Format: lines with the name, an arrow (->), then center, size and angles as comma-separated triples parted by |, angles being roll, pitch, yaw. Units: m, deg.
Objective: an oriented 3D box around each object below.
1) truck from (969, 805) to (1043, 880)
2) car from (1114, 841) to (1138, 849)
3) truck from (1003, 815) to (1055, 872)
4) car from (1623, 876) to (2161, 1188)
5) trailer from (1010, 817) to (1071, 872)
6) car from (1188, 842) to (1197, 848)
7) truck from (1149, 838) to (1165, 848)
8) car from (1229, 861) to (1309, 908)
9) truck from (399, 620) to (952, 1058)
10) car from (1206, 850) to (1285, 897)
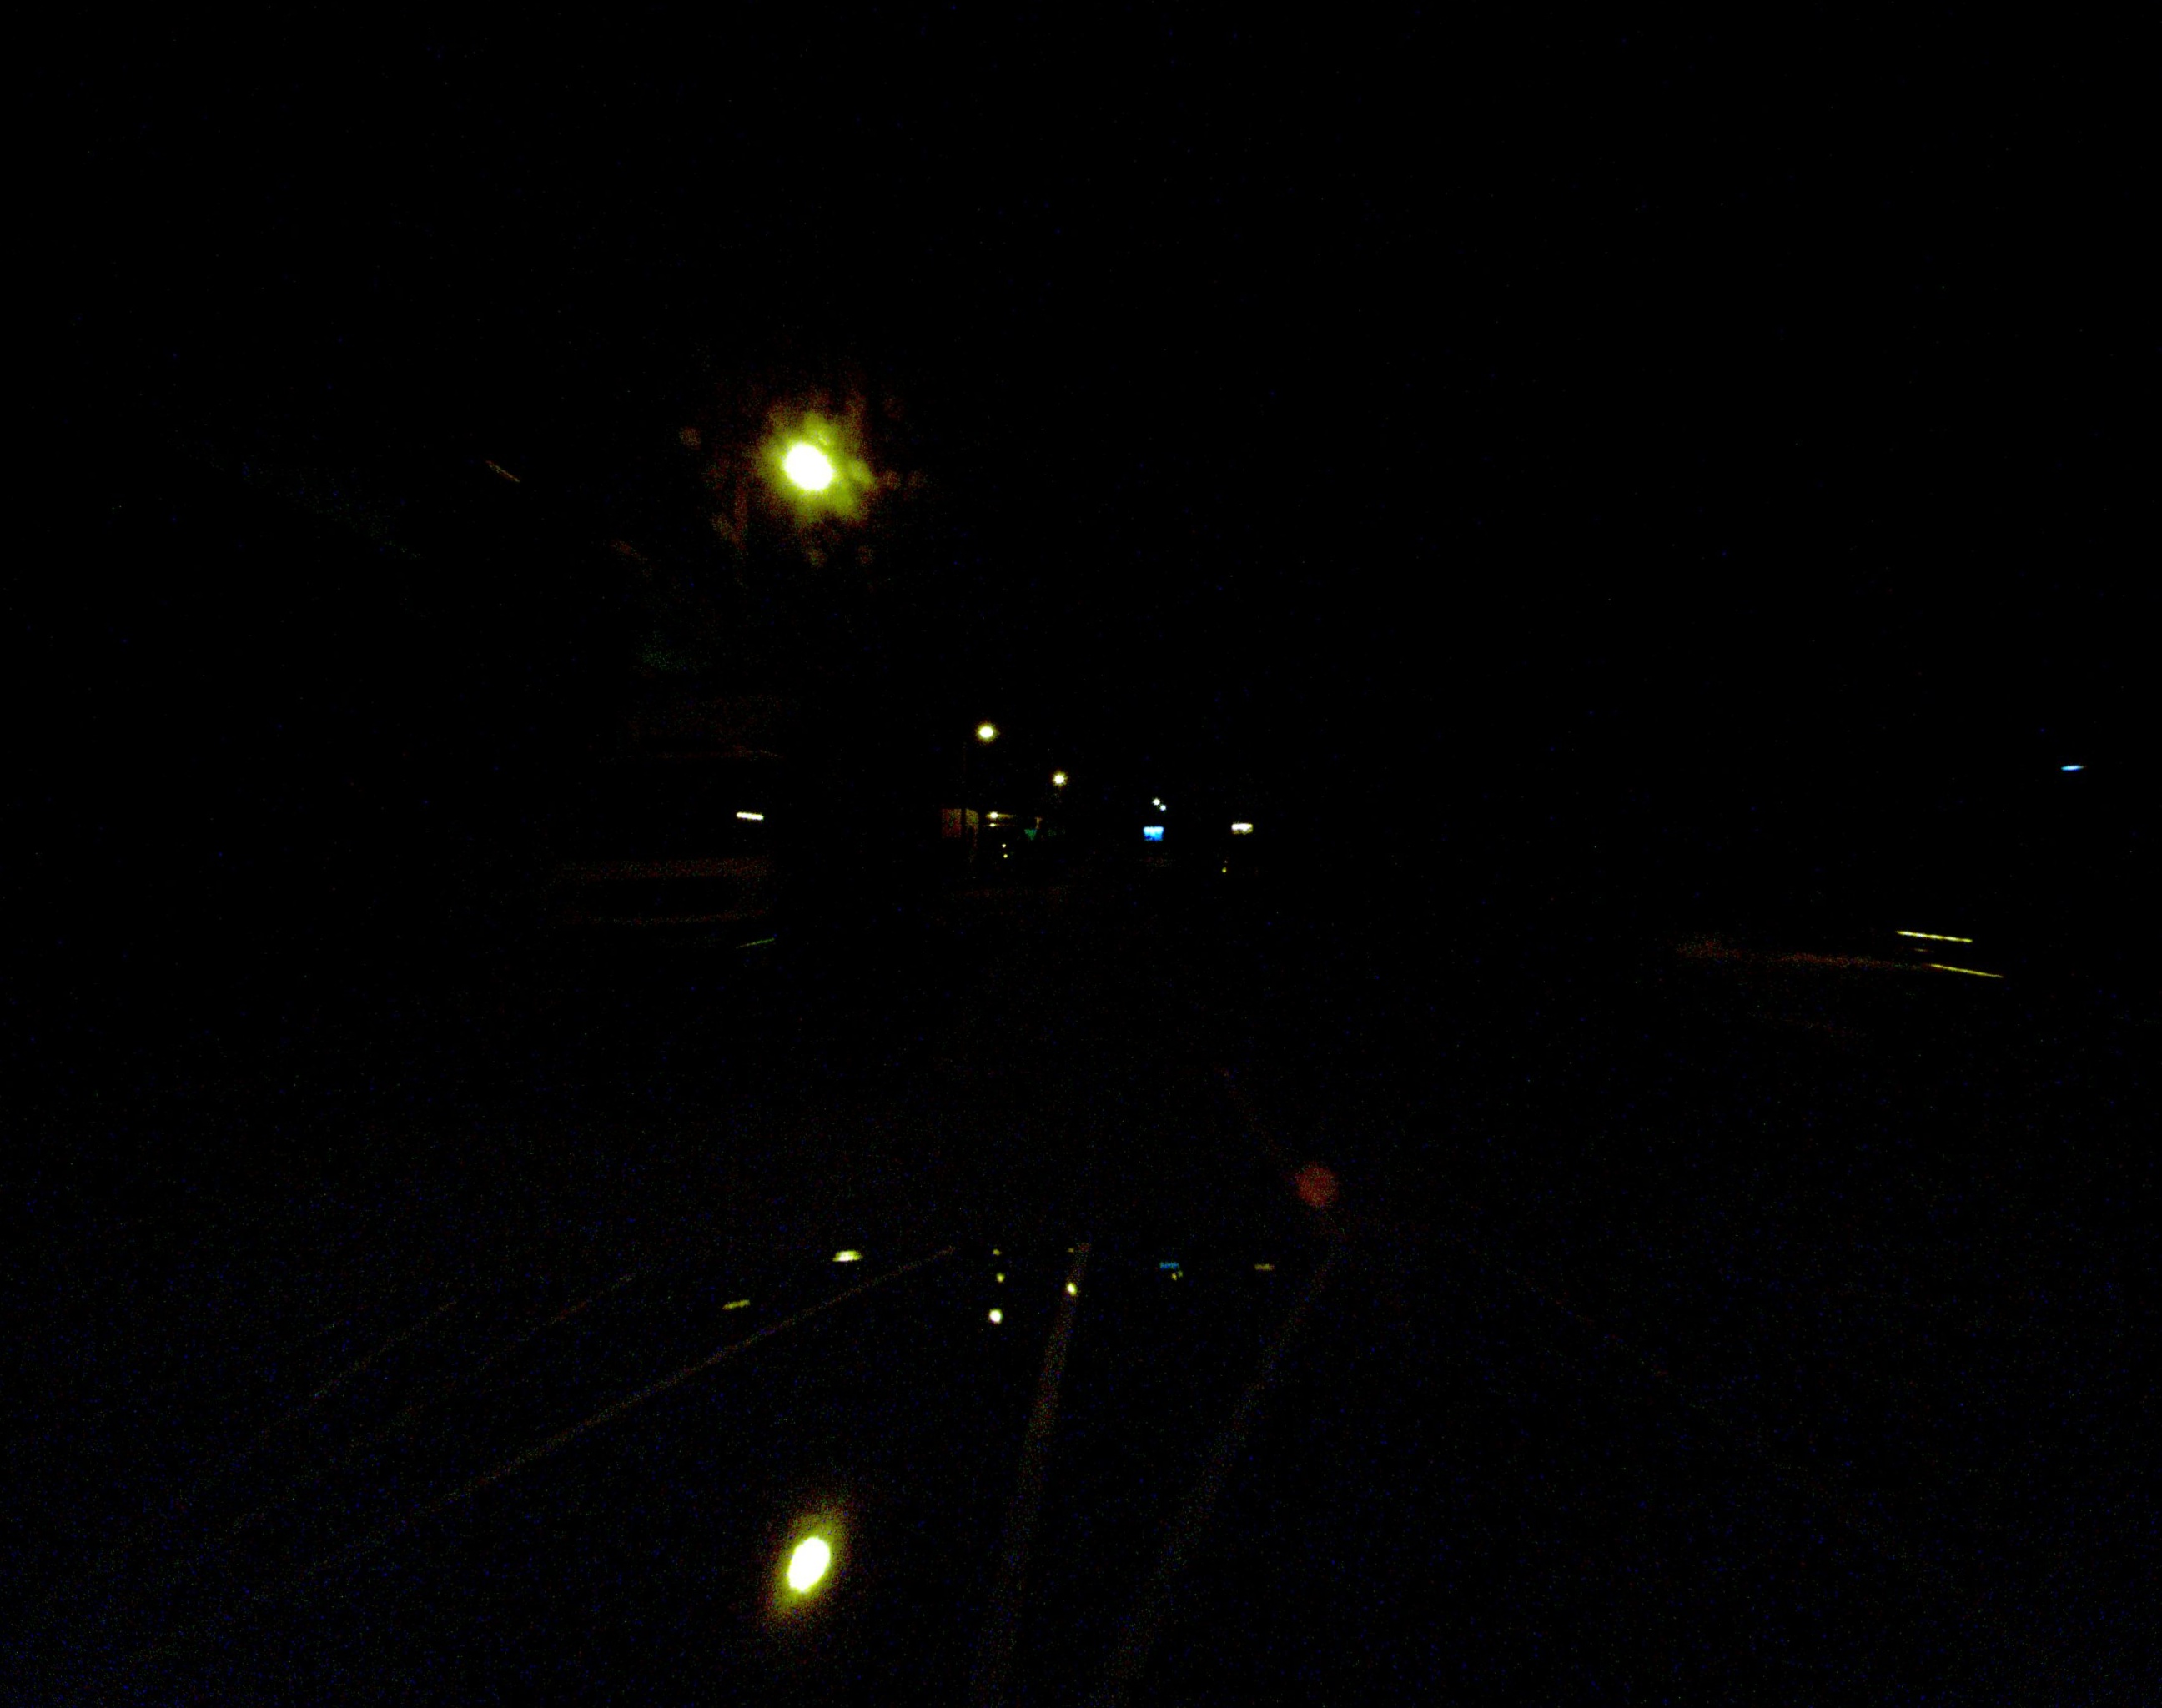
truck -> -4.233, -0.682, 45.375 | 2.836, 3.960, 10.342 | 1, 1, 3
car -> 9.888, -1.990, 166.833 | 5.079, 1.826, 1.991 | 0, 2, 19
truck -> -3.739, -0.777, 56.116 | 2.836, 3.960, 6.051 | 1, 1, 6
car -> 6.338, 0.945, 5.602 | 1.846, 1.412, 4.000 | -1, 0, 0
trailer -> -3.058, -0.806, 62.676 | 2.814, 3.960, 13.978 | 1, 1, 6
car -> 29.956, -2.546, 203.643 | 1.937, 1.543, 4.003 | -1, 1, 13
truck -> 17.996, -2.573, 179.935 | 2.380, 2.271, 7.751 | 0, 1, 16
car -> 6.059, 0.942, 24.870 | 1.606, 1.346, 3.999 | -1, 0, 0
truck -> -4.574, -0.192, 12.129 | 3.530, 3.960, 10.338 | 1, 1, -2
car -> 6.352, 0.712, 29.953 | 1.999, 1.627, 4.772 | -1, 1, -1
